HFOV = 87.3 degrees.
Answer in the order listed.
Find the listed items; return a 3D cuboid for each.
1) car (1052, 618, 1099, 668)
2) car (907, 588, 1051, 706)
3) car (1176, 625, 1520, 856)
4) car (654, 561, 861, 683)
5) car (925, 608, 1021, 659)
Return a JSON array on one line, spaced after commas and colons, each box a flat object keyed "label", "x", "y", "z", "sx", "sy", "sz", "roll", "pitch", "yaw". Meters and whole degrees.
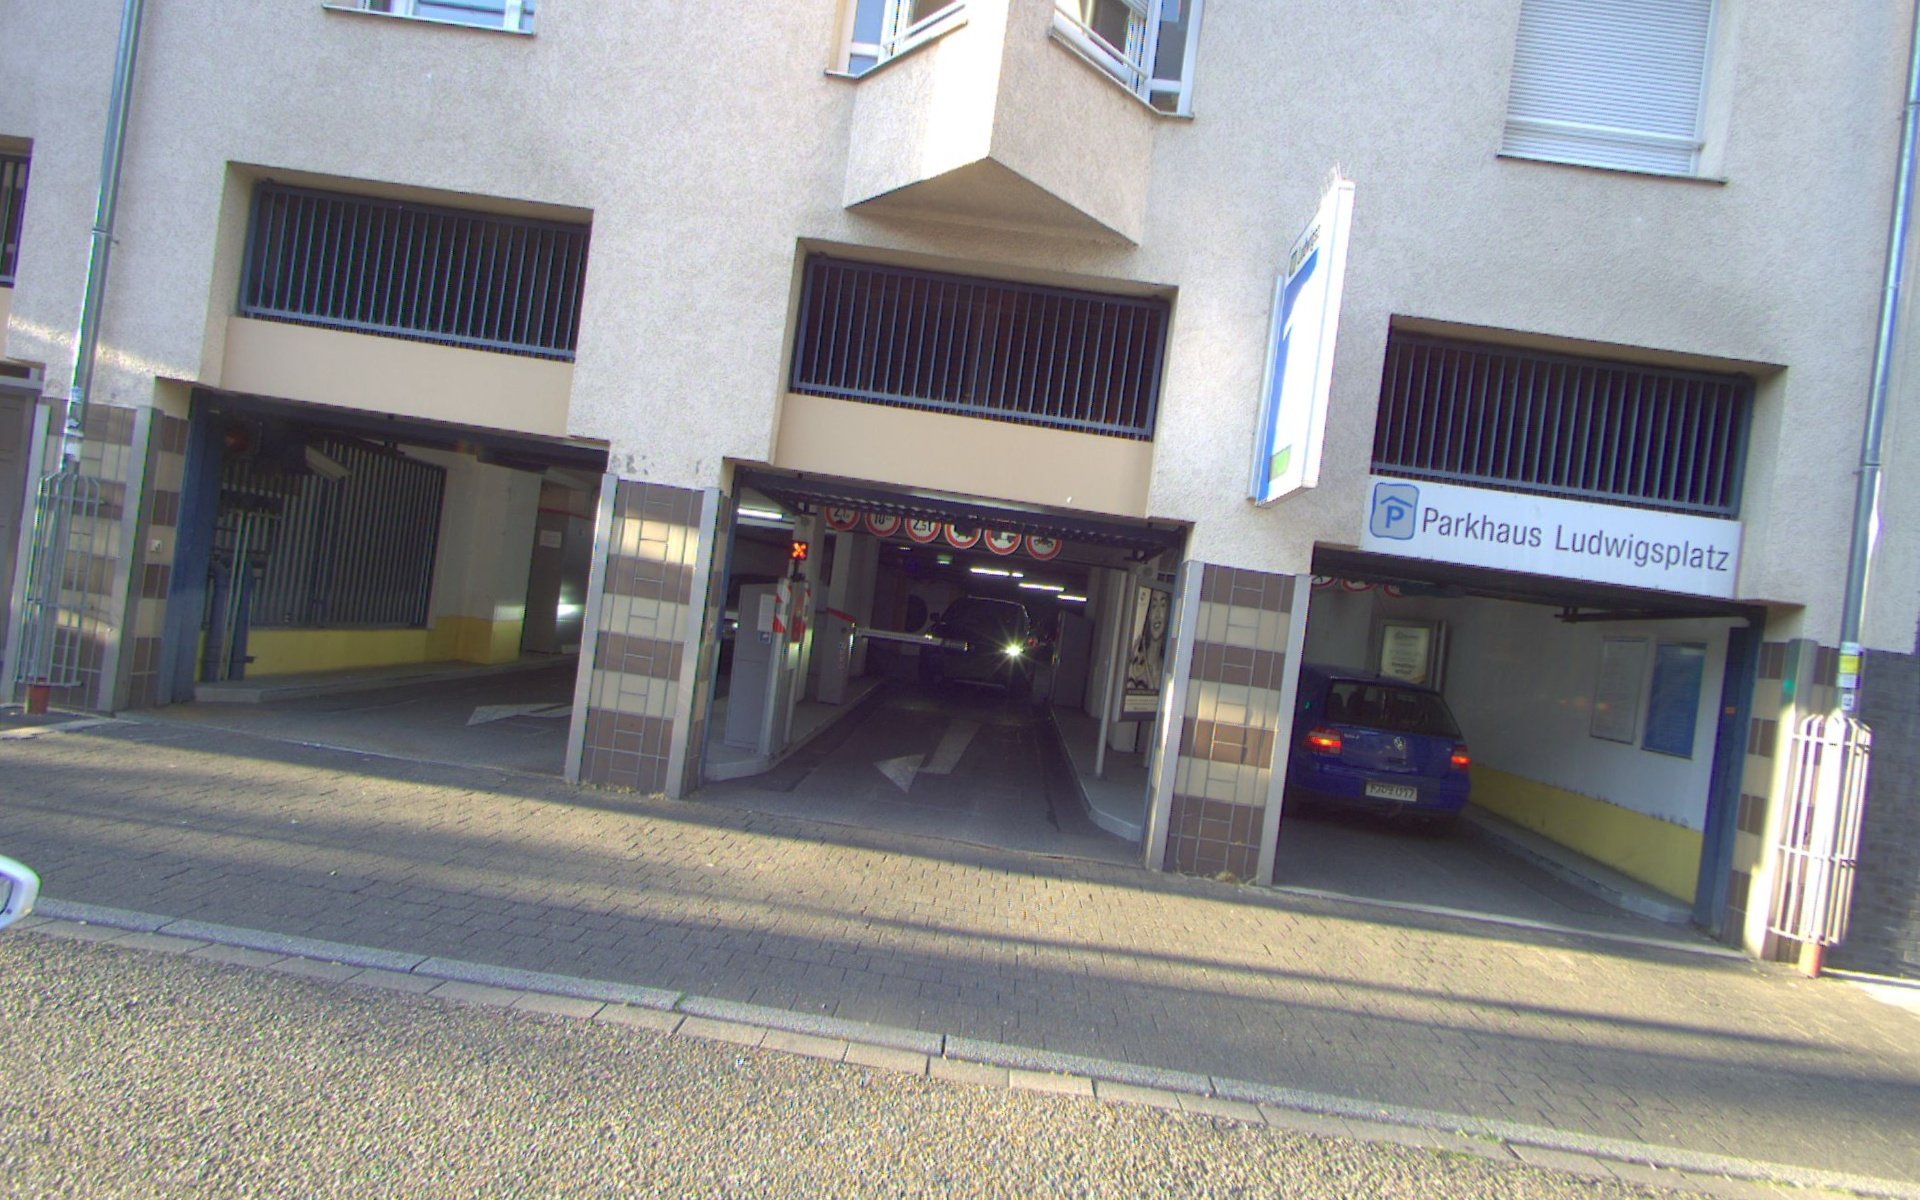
[{"label": "car", "x": 4.520, "y": 1.647, "z": 39.774, "sx": 1.531, "sy": 1.638, "sz": 3.881, "roll": 8, "pitch": 0, "yaw": 4}, {"label": "car", "x": 0.482, "y": 0.838, "z": 18.367, "sx": 1.855, "sy": 1.643, "sz": 4.303, "roll": 8, "pitch": -1, "yaw": 9}, {"label": "car", "x": 3.754, "y": 1.263, "z": 10.636, "sx": 1.663, "sy": 1.583, "sz": 4.113, "roll": 8, "pitch": 1, "yaw": -3}, {"label": "car", "x": -3.216, "y": 0.383, "z": 16.974, "sx": 1.784, "sy": 1.592, "sz": 4.253, "roll": 7, "pitch": 0, "yaw": 11}, {"label": "car", "x": 0.423, "y": 1.238, "z": 37.929, "sx": 1.593, "sy": 1.408, "sz": 3.845, "roll": 7, "pitch": 0, "yaw": -34}]
